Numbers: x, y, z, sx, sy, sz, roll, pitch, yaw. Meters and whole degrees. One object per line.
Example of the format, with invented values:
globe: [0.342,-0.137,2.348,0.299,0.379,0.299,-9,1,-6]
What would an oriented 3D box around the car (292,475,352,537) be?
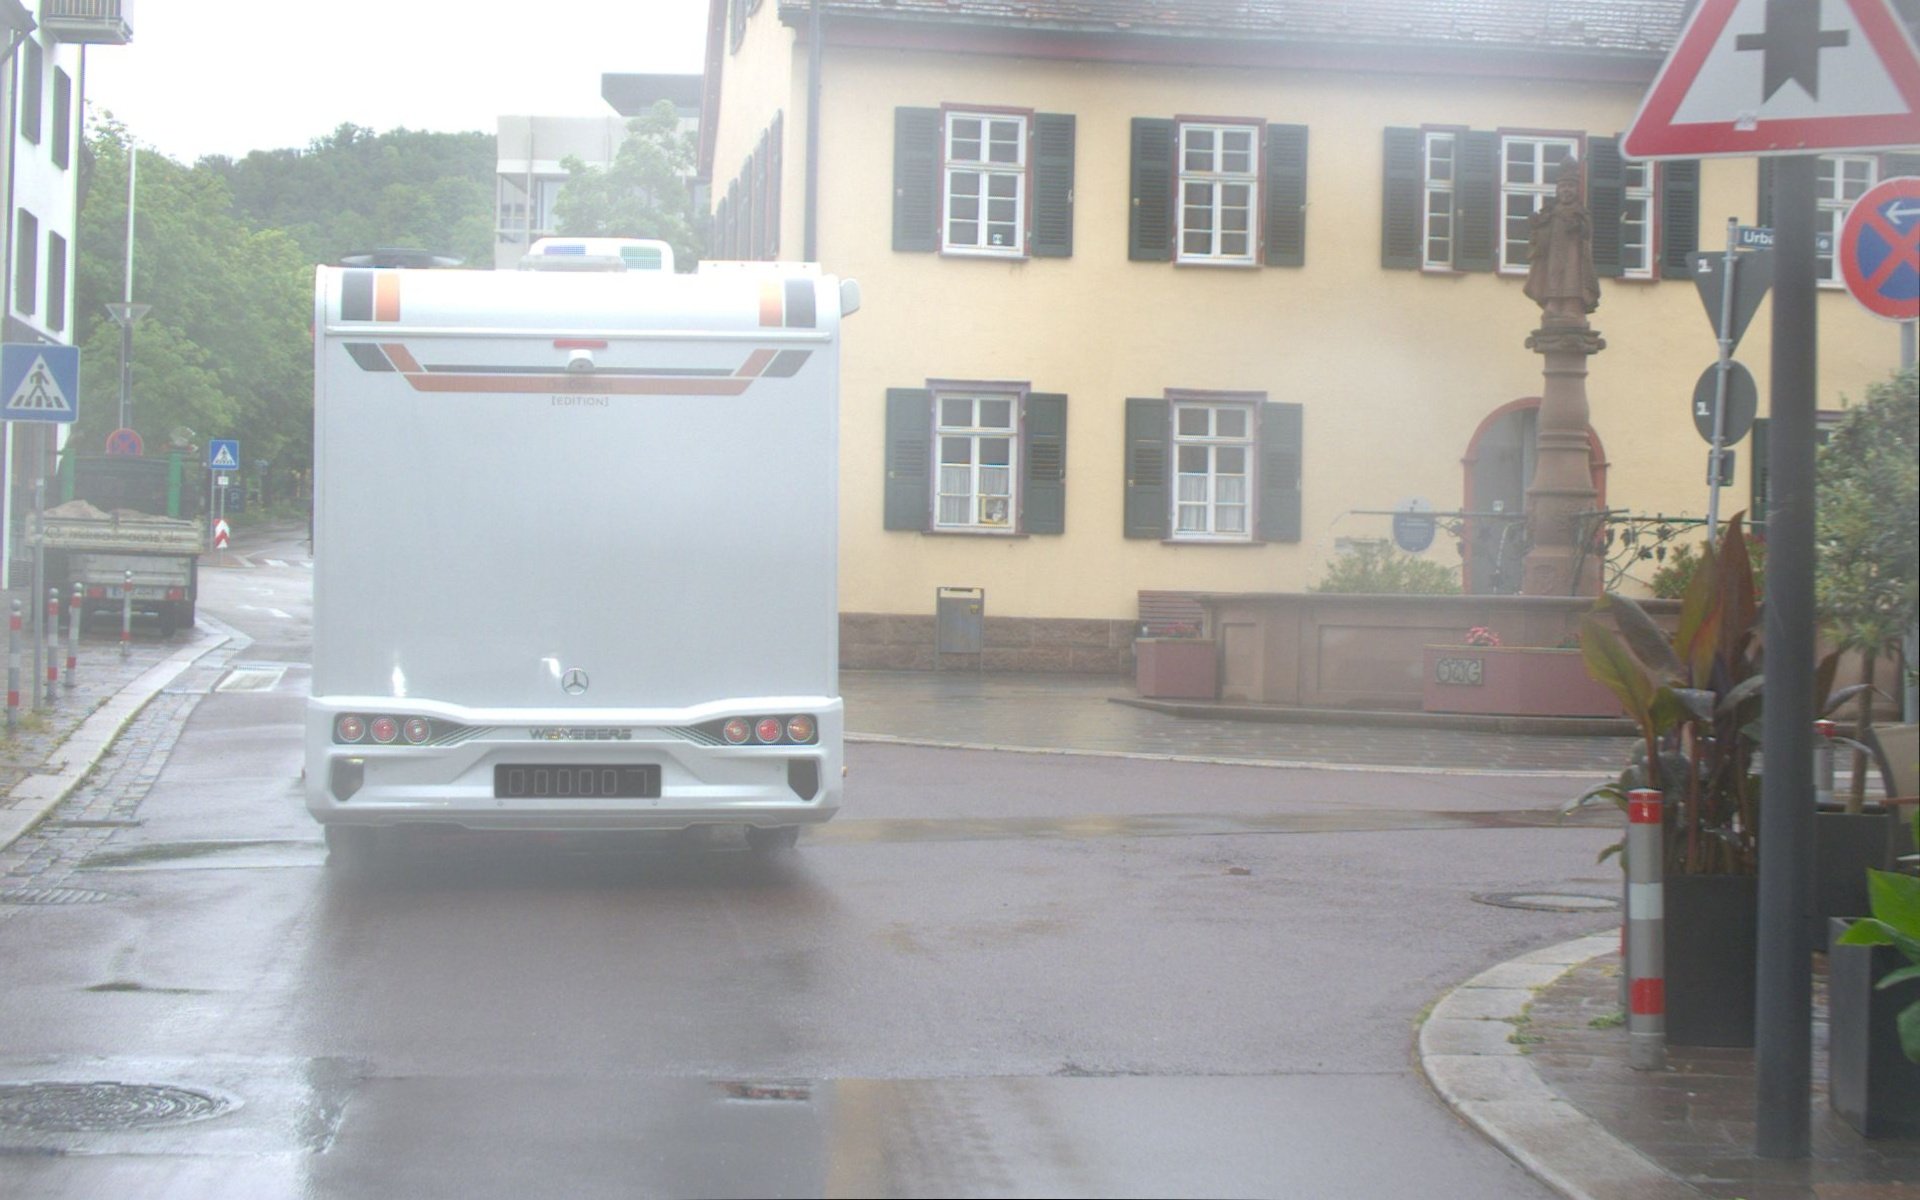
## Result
car: [-22.502,-3.285,121.249,1.993,2.007,4.001,1,-1,-11]

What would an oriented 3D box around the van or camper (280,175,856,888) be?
van or camper: [-2.103,-0.236,17.400,2.325,2.909,6.394,1,-1,-9]

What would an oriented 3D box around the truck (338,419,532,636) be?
truck: [-7.747,-0.962,50.242,2.461,2.929,6.199,1,-1,-11]

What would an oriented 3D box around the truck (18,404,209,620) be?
truck: [-11.628,-1.129,47.569,2.279,2.748,5.570,1,-1,-11]
